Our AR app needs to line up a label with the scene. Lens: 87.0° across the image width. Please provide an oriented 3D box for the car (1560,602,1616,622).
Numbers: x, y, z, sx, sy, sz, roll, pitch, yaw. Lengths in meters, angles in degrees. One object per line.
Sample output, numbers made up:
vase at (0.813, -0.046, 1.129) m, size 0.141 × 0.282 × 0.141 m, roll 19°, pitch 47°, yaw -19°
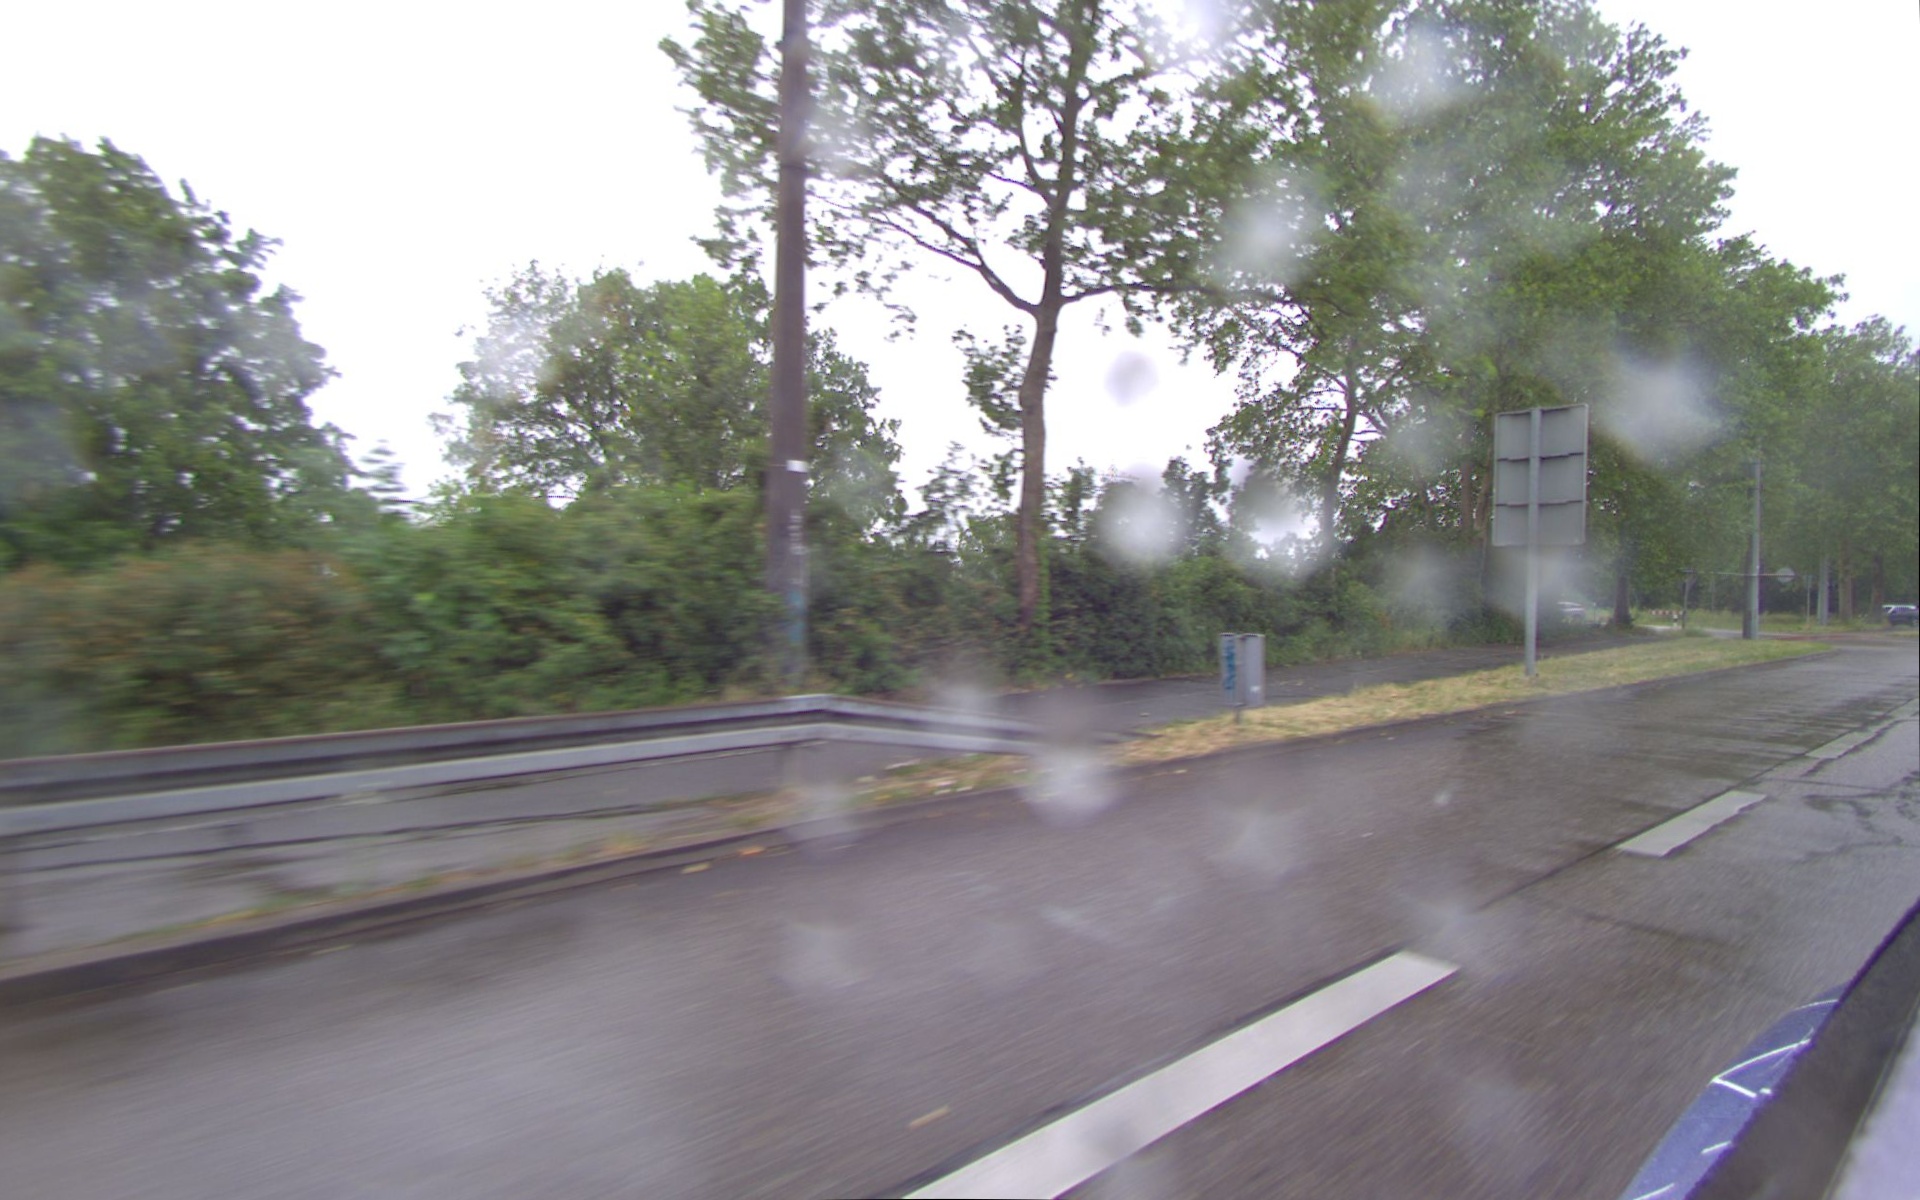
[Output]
car at (47.560, 0.933, 76.724) m, size 3.199 × 1.505 × 1.604 m, roll 0°, pitch -1°, yaw 14°
